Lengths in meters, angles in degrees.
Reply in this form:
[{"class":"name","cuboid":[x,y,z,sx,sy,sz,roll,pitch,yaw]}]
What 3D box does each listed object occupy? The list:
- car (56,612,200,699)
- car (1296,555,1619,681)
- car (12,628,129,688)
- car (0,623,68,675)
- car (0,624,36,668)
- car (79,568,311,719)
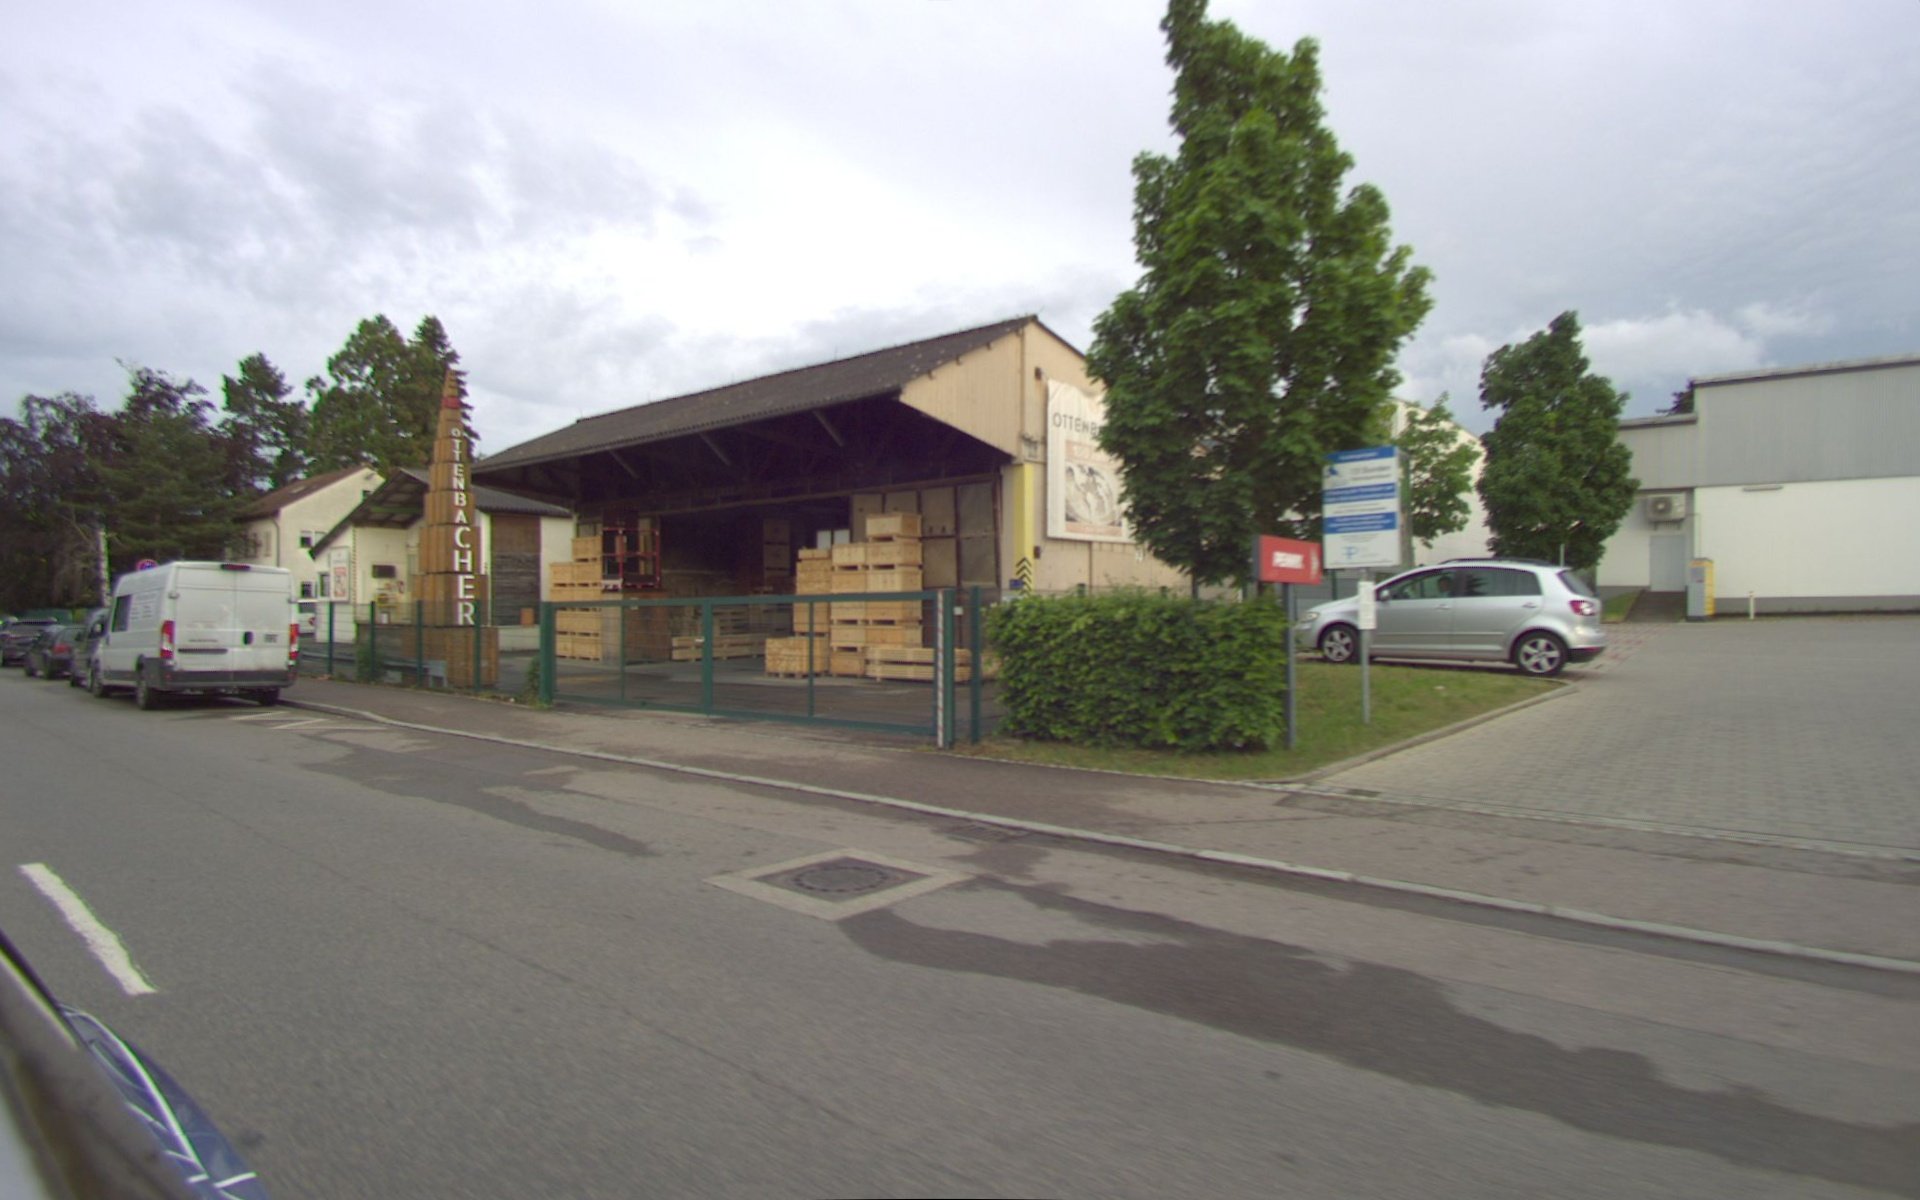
[{"class":"car","cuboid":[-19.051,1.225,23.106,4.444,1.782,1.751,-1,-4,41]},{"class":"car","cuboid":[7.158,0.241,14.710,4.034,1.599,1.632,-1,0,34]},{"class":"car","cuboid":[-23.979,1.504,27.240,4.313,1.459,1.645,-1,-2,39]},{"class":"car","cuboid":[-30.744,1.553,33.191,3.913,1.596,1.644,-1,-2,40]},{"class":"car","cuboid":[-34.707,1.641,36.517,3.658,1.520,1.599,-1,-2,41]},{"class":"car","cuboid":[-14.766,0.803,19.349,6.455,2.445,2.136,-1,-4,41]}]
